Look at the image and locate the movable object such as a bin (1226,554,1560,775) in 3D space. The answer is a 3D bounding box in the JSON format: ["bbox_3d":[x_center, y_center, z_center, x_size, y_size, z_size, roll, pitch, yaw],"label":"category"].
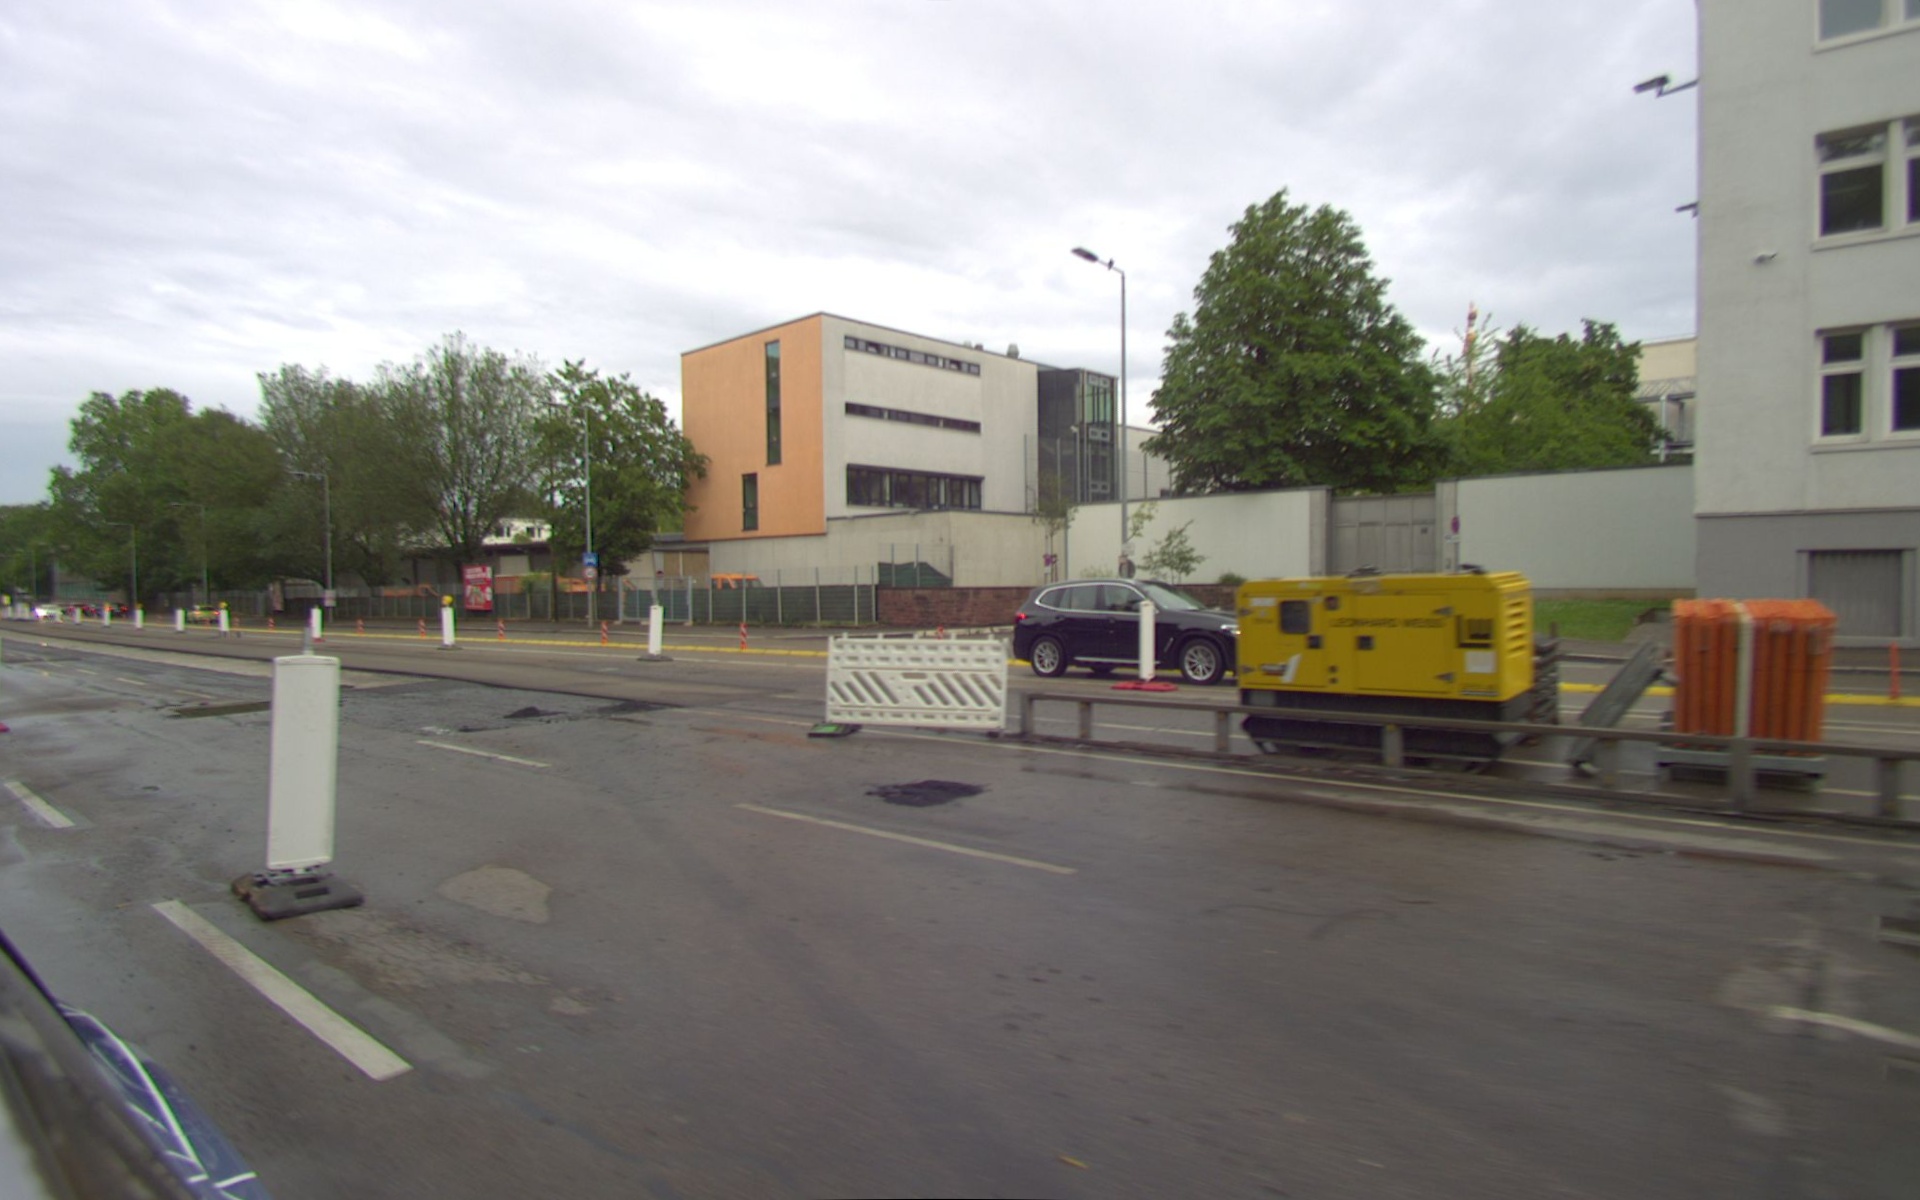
[{"bbox_3d":[3.696,0.475,8.785,2.437,1.657,1.072,-1,1,41],"label":"movable object such as a bin"}]

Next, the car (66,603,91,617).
[{"bbox_3d":[-110.245,1.258,126.529,4.364,1.631,1.839,0,-1,42],"label":"car"}]

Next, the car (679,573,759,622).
[{"bbox_3d":[-11.413,-0.112,47.819,3.998,2.186,1.593,-1,1,41],"label":"car"}]

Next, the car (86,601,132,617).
[{"bbox_3d":[-91.215,0.976,108.458,4.293,1.642,1.854,0,0,18],"label":"car"}]

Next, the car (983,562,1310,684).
[{"bbox_3d":[2.932,0.354,16.667,4.979,1.719,1.974,-1,-1,40],"label":"car"}]

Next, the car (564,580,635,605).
[{"bbox_3d":[-23.210,-0.493,65.287,3.958,1.539,2.004,-2,1,-10],"label":"car"}]

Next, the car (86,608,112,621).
[{"bbox_3d":[-99.136,1.645,116.537,3.731,1.487,1.839,0,-1,42],"label":"car"}]

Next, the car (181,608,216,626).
[{"bbox_3d":[-61.710,1.359,82.024,3.803,1.378,1.537,0,0,41],"label":"car"}]
